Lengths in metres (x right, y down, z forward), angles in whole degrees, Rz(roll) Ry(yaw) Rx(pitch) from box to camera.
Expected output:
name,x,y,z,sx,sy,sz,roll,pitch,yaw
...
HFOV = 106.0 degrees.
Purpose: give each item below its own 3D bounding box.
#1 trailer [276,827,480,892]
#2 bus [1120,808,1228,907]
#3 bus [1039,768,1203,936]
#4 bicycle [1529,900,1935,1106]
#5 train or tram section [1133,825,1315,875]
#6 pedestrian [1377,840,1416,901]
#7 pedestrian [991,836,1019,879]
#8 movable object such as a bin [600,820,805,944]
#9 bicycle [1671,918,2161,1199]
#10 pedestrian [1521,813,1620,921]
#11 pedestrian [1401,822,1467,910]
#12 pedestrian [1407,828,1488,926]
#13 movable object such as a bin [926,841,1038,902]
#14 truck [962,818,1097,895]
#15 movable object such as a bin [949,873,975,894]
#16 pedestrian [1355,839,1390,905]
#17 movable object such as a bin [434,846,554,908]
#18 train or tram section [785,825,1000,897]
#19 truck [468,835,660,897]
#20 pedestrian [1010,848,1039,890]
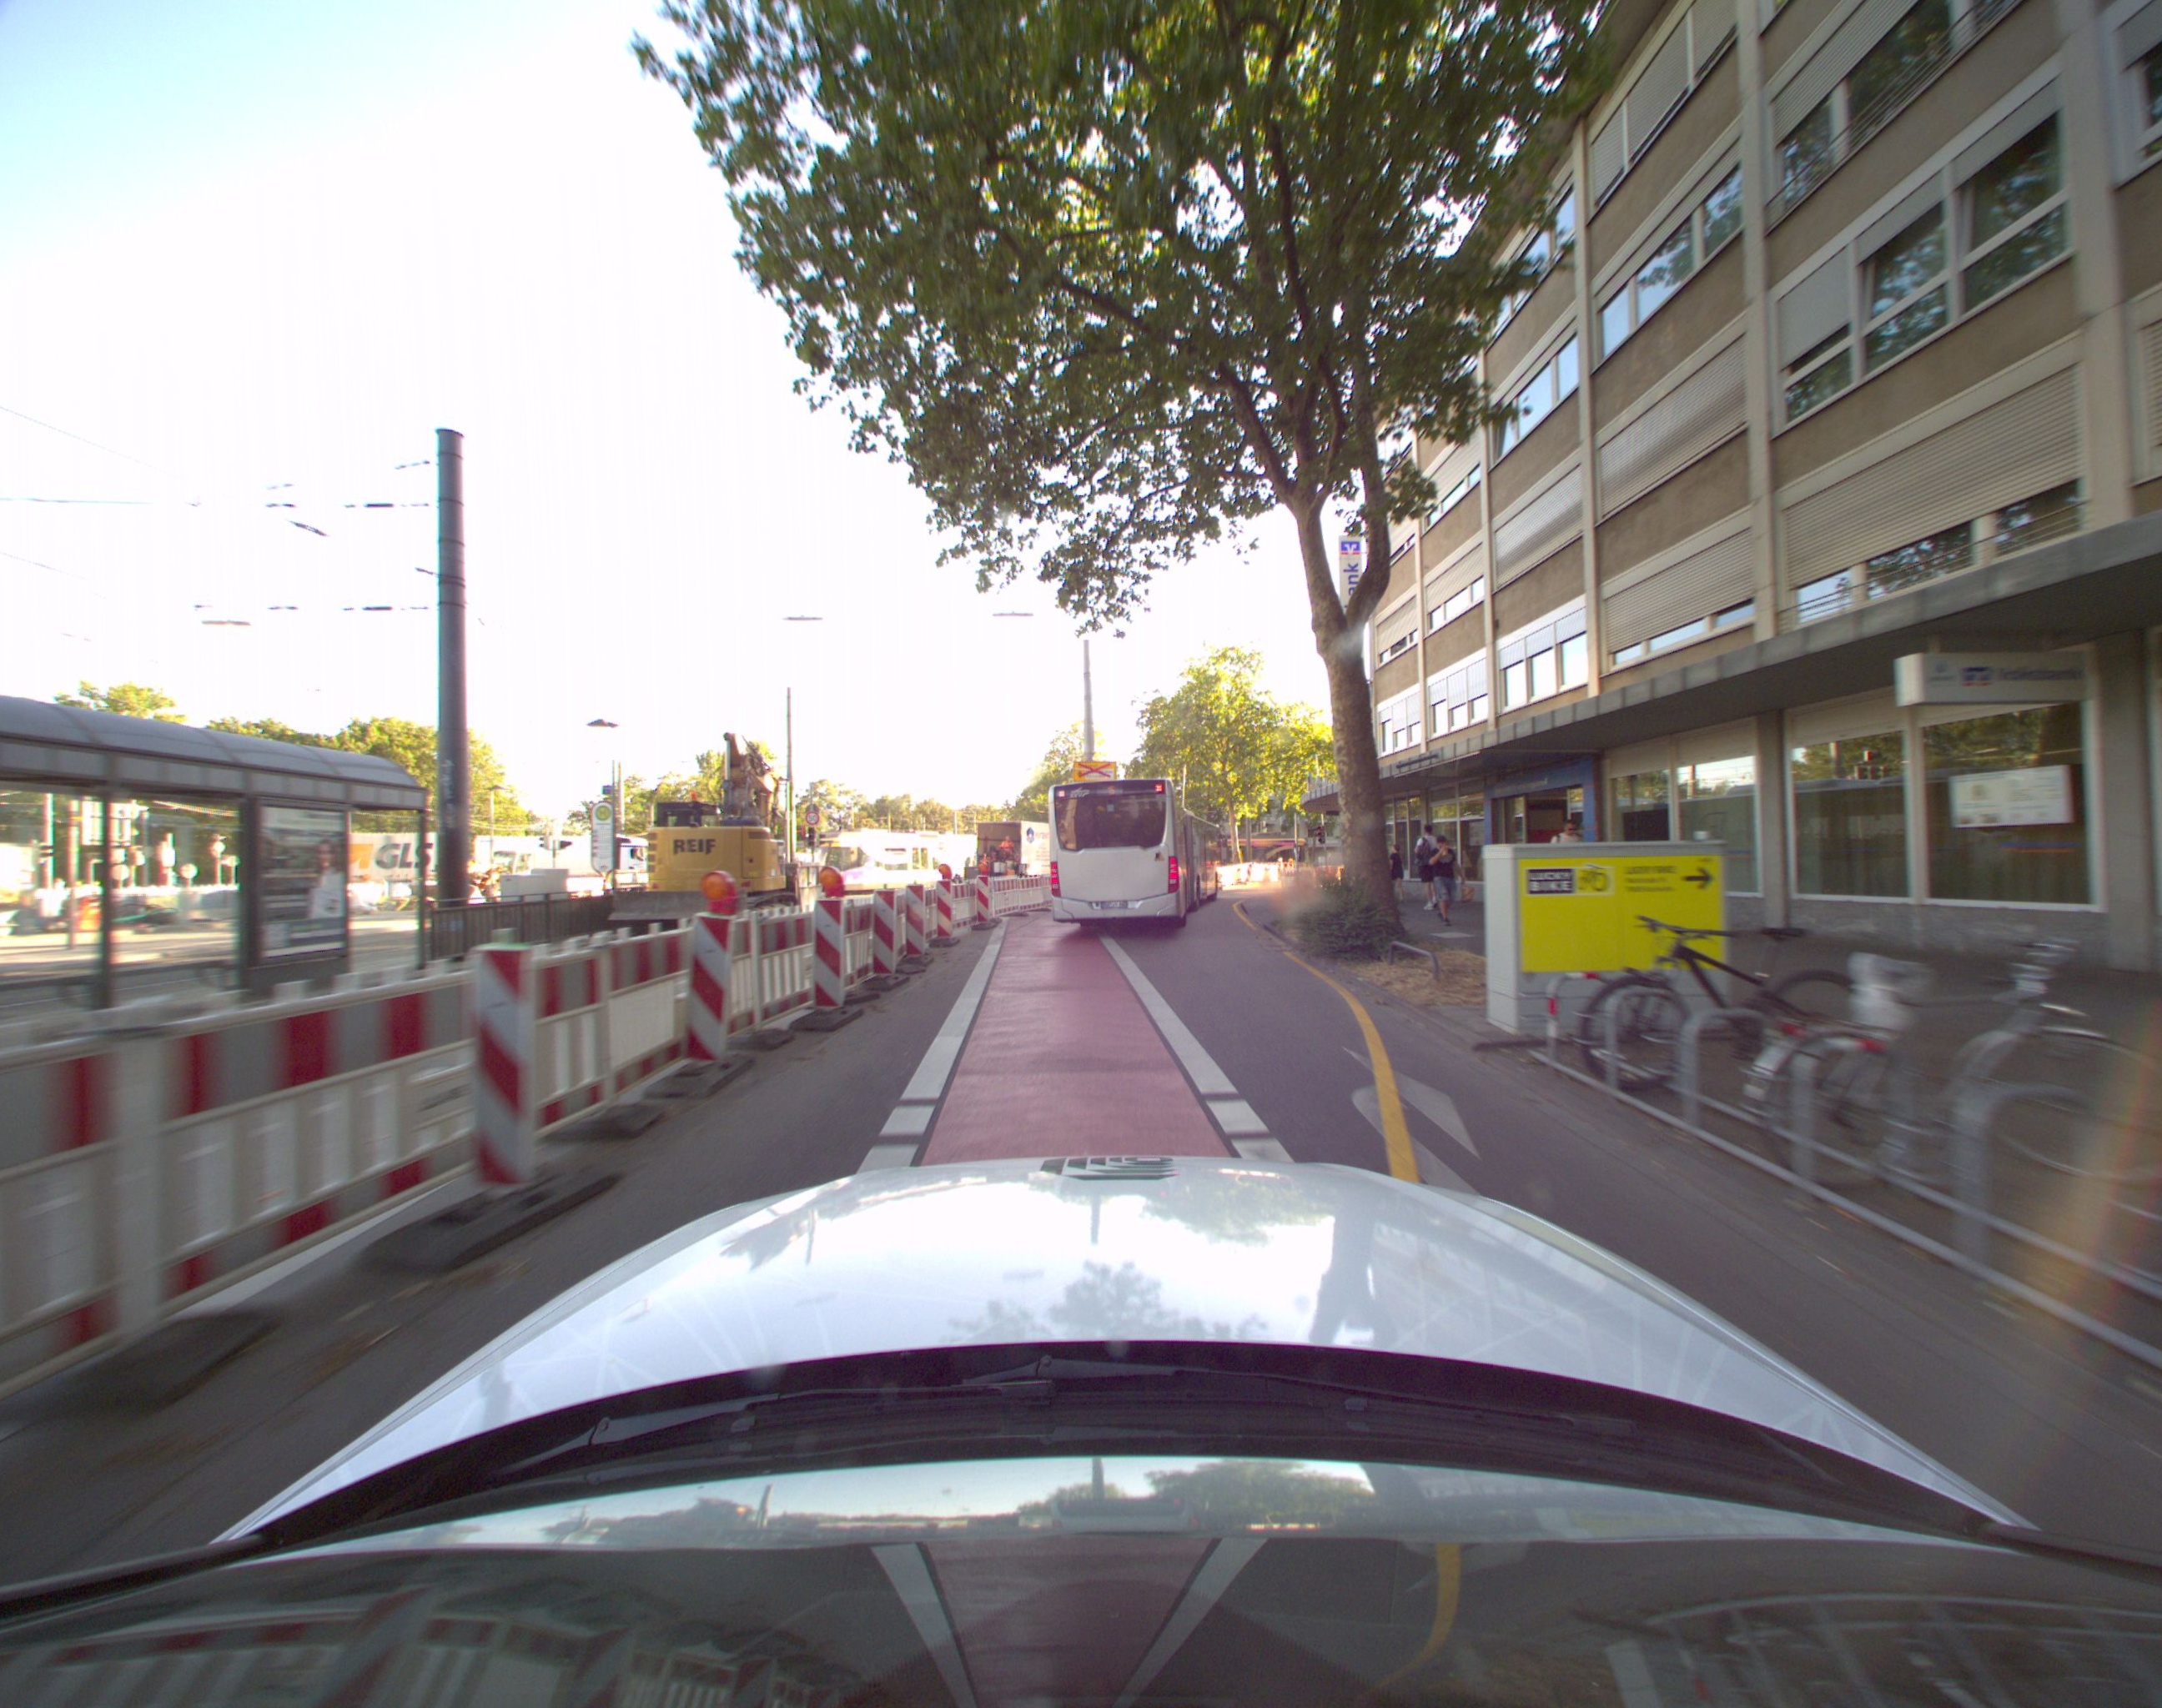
name,x,y,z,sx,sy,sz,roll,pitch,yaw
trailer,-42.918,0.357,50.050,9.214,3.798,2.887,0,-1,-9
bus,3.735,0.137,30.265,2.689,3.107,9.014,-1,-1,15
bus,1.520,-0.011,20.705,2.716,3.139,10.734,0,0,10
bicycle,4.036,0.885,5.149,1.983,1.058,0.769,-2,-1,-4
train or tram section,10.604,-0.317,60.208,13.309,3.519,2.636,-1,-1,-15
pedestrian,8.484,0.438,21.930,0.631,1.573,0.774,-4,0,-1
pedestrian,-3.635,0.145,38.915,0.928,2.013,1.007,-1,1,24
movable object such as a bin,-7.985,0.528,17.866,2.640,2.318,4.890,-1,0,-7
bicycle,3.816,0.884,3.741,1.707,1.058,0.644,-2,0,0
pedestrian,8.395,0.214,14.016,0.896,1.697,1.070,-6,0,-1
pedestrian,8.032,0.269,18.566,0.835,1.869,1.099,-5,0,-1
pedestrian,6.884,0.421,15.354,0.896,1.710,1.070,-5,0,-1
movable object such as a bin,-3.877,0.634,33.002,1.975,2.256,5.238,0,0,26
truck,-2.379,0.126,42.225,2.786,3.541,9.036,-1,-1,26
movable object such as a bin,-5.422,1.335,37.206,0.929,0.917,1.420,-1,-1,1
pedestrian,7.801,0.476,21.814,0.581,1.708,0.679,-4,0,-1
movable object such as a bin,-27.079,1.010,37.798,2.143,2.639,4.599,-1,-1,1
train or tram section,-10.153,0.417,46.545,2.822,3.533,13.481,-2,-1,36
truck,-33.766,0.703,53.775,10.465,3.790,2.872,0,-1,-30
pedestrian,-2.482,0.664,35.907,0.965,1.798,1.074,-1,-1,16
